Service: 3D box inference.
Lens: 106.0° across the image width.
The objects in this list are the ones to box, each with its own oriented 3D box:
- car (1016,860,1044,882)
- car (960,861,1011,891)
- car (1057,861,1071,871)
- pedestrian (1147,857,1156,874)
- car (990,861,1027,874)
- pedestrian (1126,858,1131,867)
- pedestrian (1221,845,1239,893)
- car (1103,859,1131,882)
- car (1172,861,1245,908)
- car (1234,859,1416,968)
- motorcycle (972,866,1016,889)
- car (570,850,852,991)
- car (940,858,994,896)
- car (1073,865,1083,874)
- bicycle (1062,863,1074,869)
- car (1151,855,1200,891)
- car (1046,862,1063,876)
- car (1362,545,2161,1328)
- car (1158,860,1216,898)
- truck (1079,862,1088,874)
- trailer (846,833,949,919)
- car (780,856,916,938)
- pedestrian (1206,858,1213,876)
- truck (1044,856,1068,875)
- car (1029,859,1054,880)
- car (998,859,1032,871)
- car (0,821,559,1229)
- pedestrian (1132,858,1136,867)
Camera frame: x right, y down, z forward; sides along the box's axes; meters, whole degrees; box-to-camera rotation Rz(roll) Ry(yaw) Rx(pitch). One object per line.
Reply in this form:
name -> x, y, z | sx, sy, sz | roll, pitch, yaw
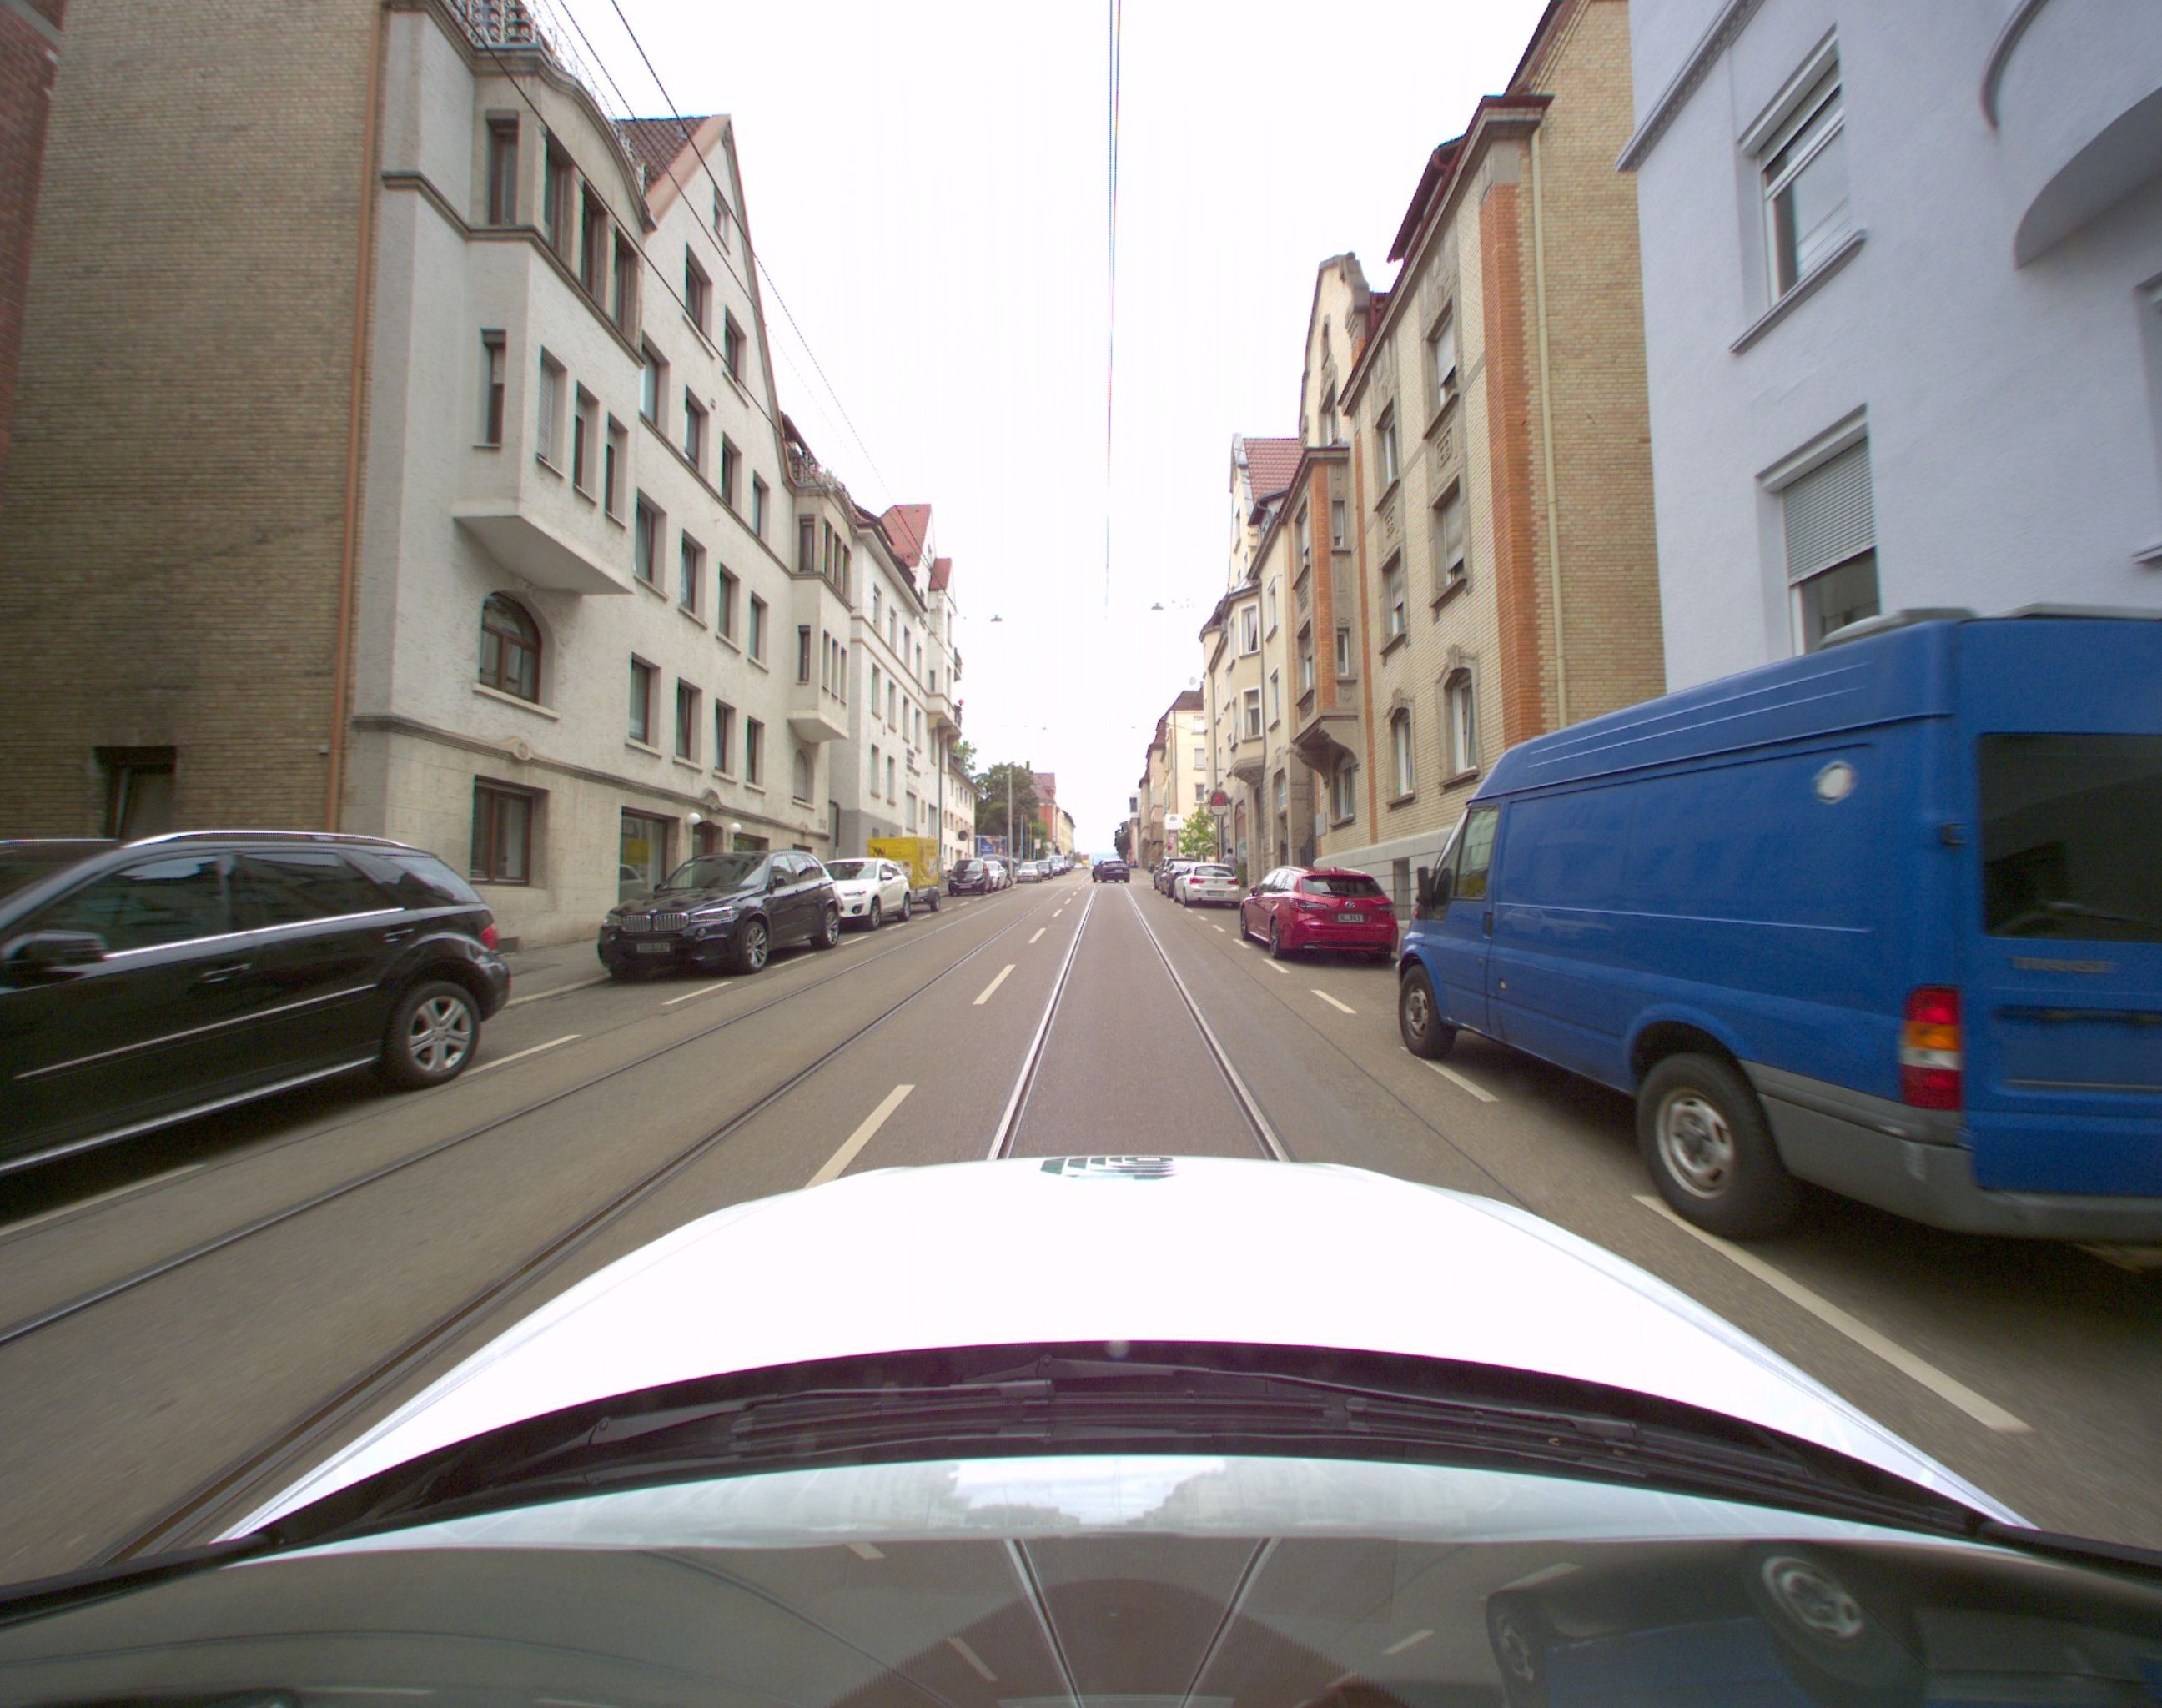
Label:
car -> -3.886, 1.274, 62.382 | 1.690, 1.556, 3.853 | 0, 0, 3
car -> -4.580, 1.029, 39.675 | 1.772, 1.357, 4.295 | -1, 0, 3
car -> -2.316, 1.651, 113.687 | 1.705, 1.446, 4.292 | 0, 0, 2
pedestrian -> 7.507, 1.218, 86.605 | 0.867, 1.686, 0.663 | -2, -1, 0
car -> -8.137, 1.488, 91.811 | 4.046, 1.445, 1.688 | 0, -1, 1
pedestrian -> 8.443, 1.518, 143.832 | 0.788, 1.667, 0.799 | 0, -1, 4
pedestrian -> 5.668, 0.581, 30.989 | 0.597, 1.803, 0.632 | 0, -1, 1
car -> 2.576, 1.139, 58.514 | 1.986, 1.563, 4.292 | 0, 0, 2
car -> 4.097, 0.944, 26.841 | 1.744, 1.390, 4.307 | 2, 0, 1
car -> 3.838, 0.853, 13.667 | 1.773, 1.475, 4.591 | 1, 0, 2
motorcycle -> -4.585, 1.230, 42.873 | 2.093, 1.134, 0.769 | -2, 0, 15
car -> -5.275, 0.820, 12.529 | 1.866, 1.664, 4.894 | -3, 0, 2
car -> -4.783, 0.960, 34.526 | 1.690, 1.468, 3.025 | -3, -1, 2
car -> -0.530, 3.167, 166.775 | 1.848, 1.607, 4.298 | 0, 0, 2
bicycle -> -2.209, 2.030, 137.135 | 1.903, 1.000, 0.479 | 0, -1, 2
car -> 4.402, 0.873, 38.398 | 1.730, 1.537, 4.572 | 2, 0, 0
car -> -2.952, 1.690, 91.743 | 1.691, 1.433, 4.481 | -2, 0, 0
car -> 3.528, 0.274, 5.000 | 1.986, 2.376, 5.058 | 0, -1, 2
car -> 4.230, 0.950, 33.155 | 1.774, 1.390, 4.692 | 2, 0, 1
truck -> 0.769, 3.735, 219.553 | 2.294, 3.037, 9.036 | 0, -1, 2
trailer -> -5.065, 0.562, 23.012 | 1.742, 2.155, 4.073 | -3, 0, 2
car -> -5.198, 0.889, 18.823 | 1.690, 1.594, 4.270 | -3, 0, 2
pedestrian -> 11.144, 1.104, 70.486 | 0.556, 1.582, 0.686 | 0, -1, 2
truck -> -2.927, 1.381, 98.694 | 2.271, 2.188, 8.030 | 0, 0, 3
car -> -3.512, 1.363, 73.514 | 1.736, 1.736, 4.523 | -2, -1, 3
car -> -8.008, 1.324, 99.174 | 3.862, 1.357, 1.688 | 0, -1, 1
car -> -5.448, 0.758, 4.425 | 1.820, 1.718, 4.916 | -3, 0, 2
pedestrian -> 9.378, 1.523, 143.782 | 0.788, 1.667, 0.799 | 0, -1, 4
